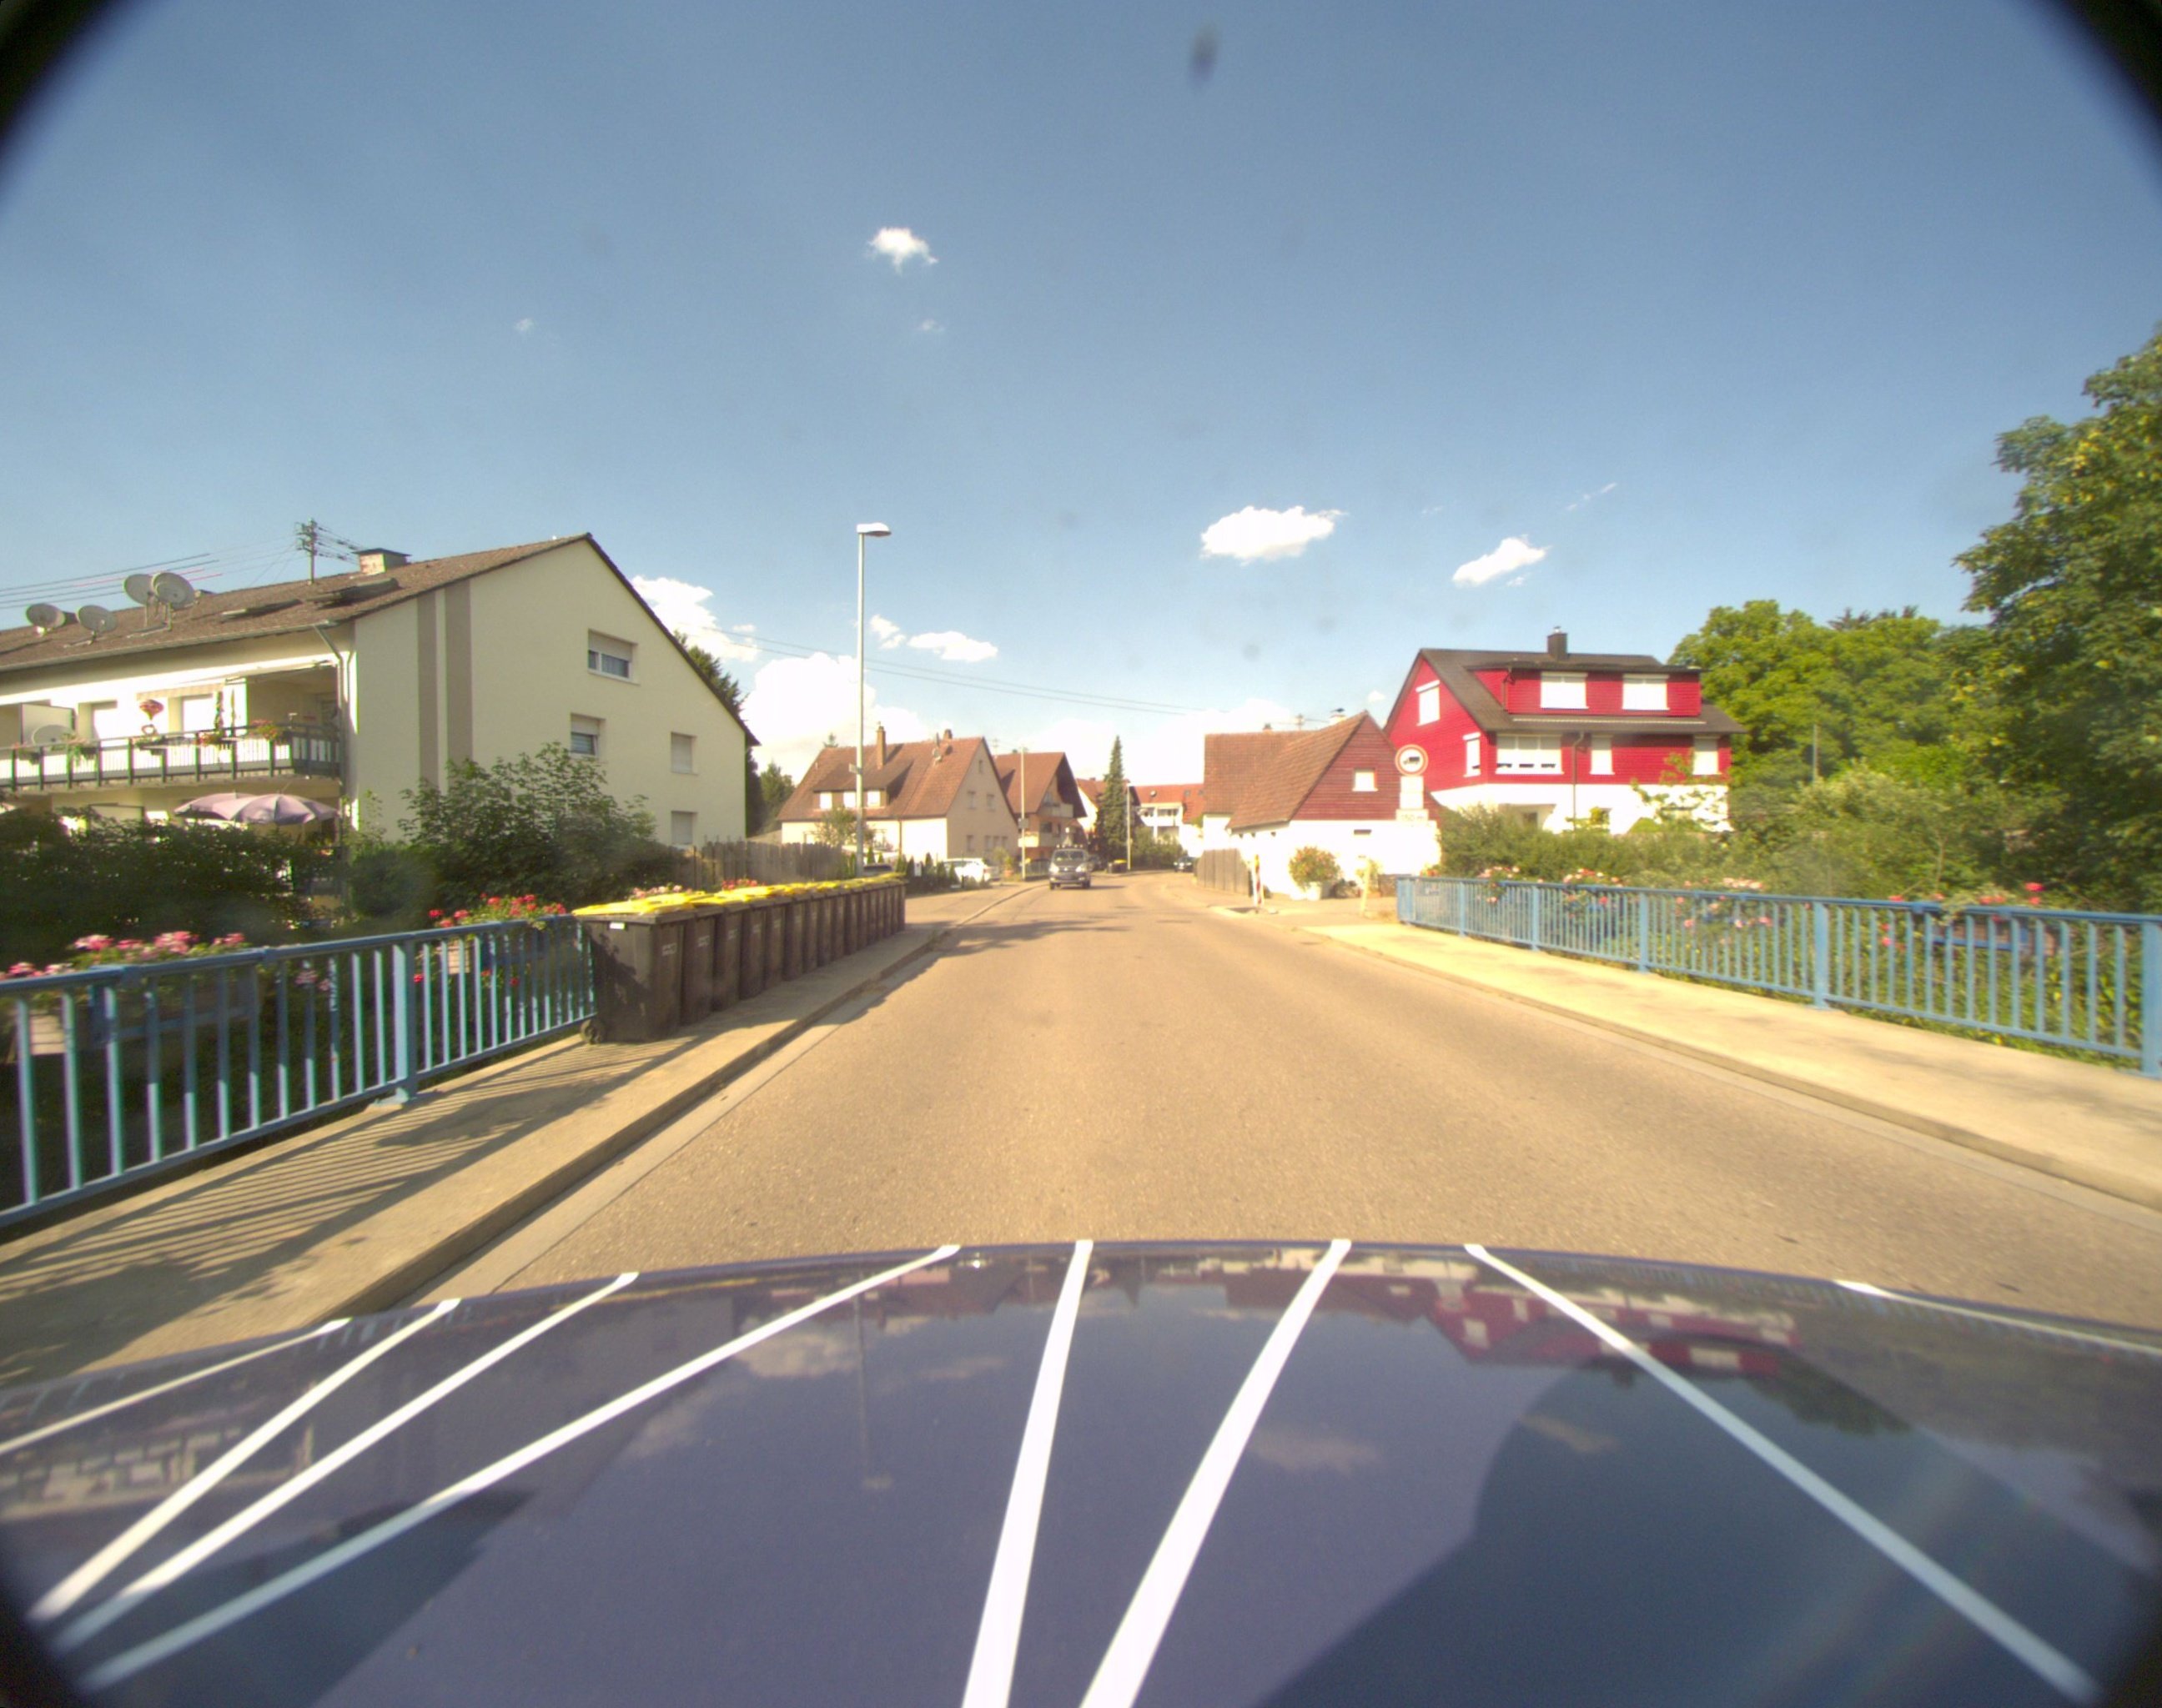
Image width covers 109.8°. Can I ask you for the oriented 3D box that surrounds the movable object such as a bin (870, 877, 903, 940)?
[{"bbox_3d":[-3.678,1.023,14.378,0.480,1.136,0.538,0,1,-2],"label":"movable object such as a bin"}]

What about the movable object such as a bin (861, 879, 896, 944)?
[{"bbox_3d":[-3.671,1.042,13.805,0.480,1.136,0.542,0,1,-2],"label":"movable object such as a bin"}]

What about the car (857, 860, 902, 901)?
[{"bbox_3d":[-8.825,1.122,33.484,1.700,1.510,4.271,-4,1,-14],"label":"car"}]

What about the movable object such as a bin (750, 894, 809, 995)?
[{"bbox_3d":[-3.558,1.053,8.999,0.480,1.136,0.538,0,1,-2],"label":"movable object such as a bin"}]

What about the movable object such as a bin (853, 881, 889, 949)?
[{"bbox_3d":[-3.646,1.045,13.197,0.480,1.136,0.538,0,1,-2],"label":"movable object such as a bin"}]

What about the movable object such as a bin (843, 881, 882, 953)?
[{"bbox_3d":[-3.625,1.036,12.624,0.480,1.136,0.538,0,1,-2],"label":"movable object such as a bin"}]

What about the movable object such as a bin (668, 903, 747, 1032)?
[{"bbox_3d":[-3.520,1.052,7.193,0.480,1.136,0.538,0,1,-2],"label":"movable object such as a bin"}]

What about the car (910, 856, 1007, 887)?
[{"bbox_3d":[-6.116,0.887,38.040,4.469,1.450,1.733,-1,1,18],"label":"car"}]

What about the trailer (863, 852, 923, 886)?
[{"bbox_3d":[-10.002,0.778,40.551,1.522,1.741,3.222,0,0,21],"label":"trailer"}]

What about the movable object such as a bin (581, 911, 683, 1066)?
[{"bbox_3d":[-3.544,1.040,6.033,0.480,1.136,0.538,0,1,-2],"label":"movable object such as a bin"}]

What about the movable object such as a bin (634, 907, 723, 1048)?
[{"bbox_3d":[-3.494,1.056,6.628,0.480,1.136,0.538,0,1,-2],"label":"movable object such as a bin"}]

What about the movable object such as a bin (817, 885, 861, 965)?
[{"bbox_3d":[-3.604,1.046,11.347,0.480,1.136,0.538,0,1,-2],"label":"movable object such as a bin"}]

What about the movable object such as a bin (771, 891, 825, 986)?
[{"bbox_3d":[-3.568,1.051,9.620,0.480,1.136,0.538,0,1,-2],"label":"movable object such as a bin"}]

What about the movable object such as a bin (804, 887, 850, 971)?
[{"bbox_3d":[-3.595,1.051,10.780,0.480,1.136,0.538,0,1,-2],"label":"movable object such as a bin"}]

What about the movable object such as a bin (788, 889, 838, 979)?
[{"bbox_3d":[-3.586,1.055,10.200,0.480,1.136,0.564,0,1,-2],"label":"movable object such as a bin"}]

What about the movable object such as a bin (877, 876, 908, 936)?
[{"bbox_3d":[-3.703,1.019,14.919,0.480,1.136,0.538,0,1,-2],"label":"movable object such as a bin"}]

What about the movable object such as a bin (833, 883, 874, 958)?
[{"bbox_3d":[-3.590,1.041,12.020,0.480,1.136,0.538,0,1,-2],"label":"movable object such as a bin"}]

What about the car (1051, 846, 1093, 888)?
[{"bbox_3d":[-0.385,0.641,38.499,1.819,1.988,4.822,-1,0,2],"label":"car"}]

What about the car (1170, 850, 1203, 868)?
[{"bbox_3d":[10.610,0.491,76.346,1.969,1.647,4.007,2,1,28],"label":"car"}]

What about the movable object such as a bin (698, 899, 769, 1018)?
[{"bbox_3d":[-3.542,1.052,7.774,0.480,1.136,0.538,0,1,-2],"label":"movable object such as a bin"}]

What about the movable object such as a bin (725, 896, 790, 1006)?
[{"bbox_3d":[-3.551,1.047,8.360,0.480,1.136,0.538,0,1,-2],"label":"movable object such as a bin"}]
